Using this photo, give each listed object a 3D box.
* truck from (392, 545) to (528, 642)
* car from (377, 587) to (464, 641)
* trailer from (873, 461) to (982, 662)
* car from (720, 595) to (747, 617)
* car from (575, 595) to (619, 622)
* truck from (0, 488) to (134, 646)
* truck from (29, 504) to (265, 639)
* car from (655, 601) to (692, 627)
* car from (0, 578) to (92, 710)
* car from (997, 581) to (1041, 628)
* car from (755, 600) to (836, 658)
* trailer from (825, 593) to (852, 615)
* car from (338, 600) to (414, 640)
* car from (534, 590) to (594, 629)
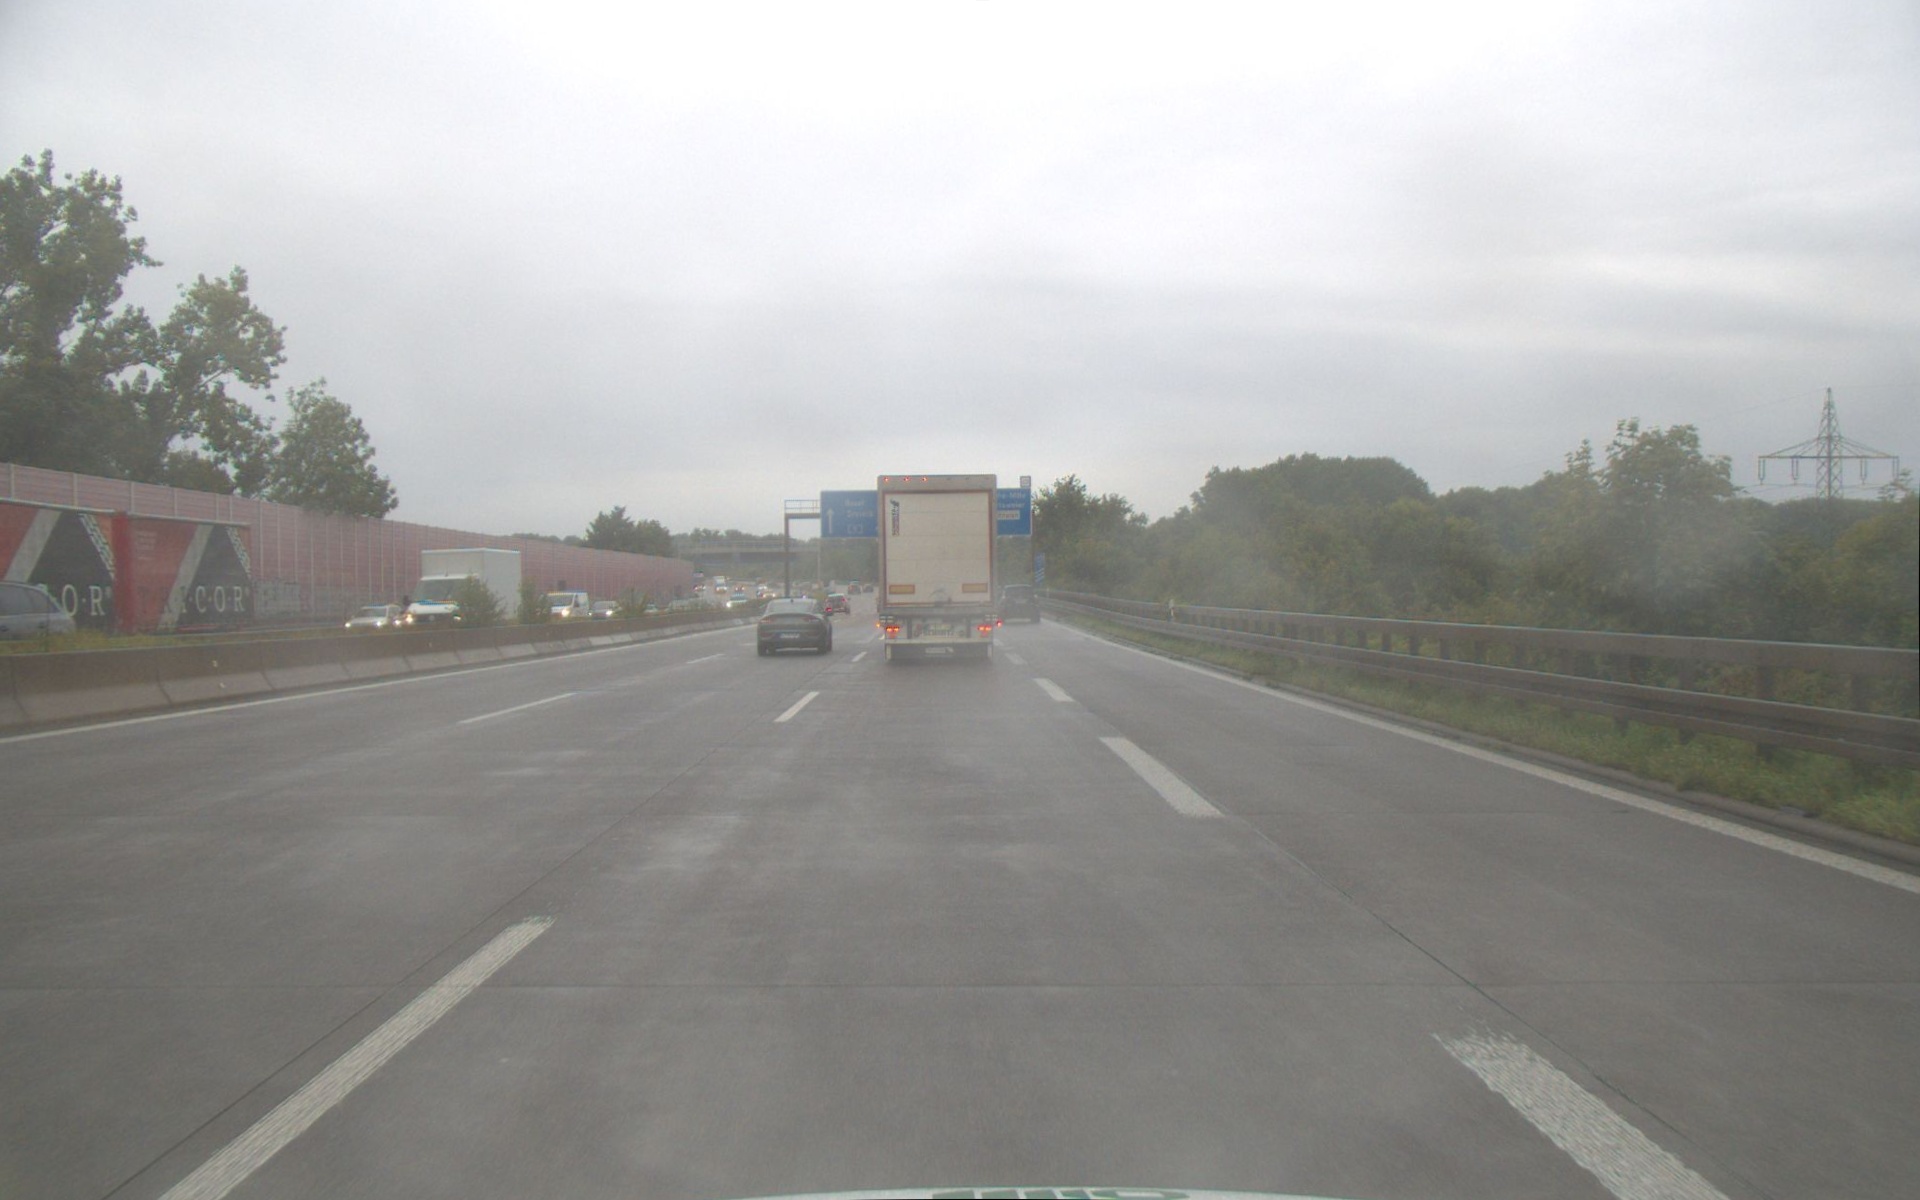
[{"bbox_3d":[-16.003,-0.216,53.425,2.220,2.878,7.278,1,0,-1],"label":"truck"},{"bbox_3d":[-19.699,0.498,60.556,1.954,1.892,4.387,0,0,-3],"label":"car"},{"bbox_3d":[-0.727,-0.955,42.234,2.295,4.229,14.826,0,1,0],"label":"trailer"},{"bbox_3d":[-22.624,0.581,165.476,1.953,2.049,5.805,1,0,-1],"label":"car"},{"bbox_3d":[-24.489,0.568,111.765,1.953,1.677,4.538,-2,0,-1],"label":"car"},{"bbox_3d":[-22.952,-0.740,38.047,2.724,3.552,10.616,0,0,-1],"label":"truck"},{"bbox_3d":[-23.120,-0.768,47.656,2.724,3.552,8.492,0,0,-1],"label":"truck"},{"bbox_3d":[-20.449,0.974,118.347,1.953,1.754,3.999,-2,0,-1],"label":"car"},{"bbox_3d":[-14.757,0.632,24.121,1.953,1.892,4.389,0,0,-1],"label":"car"},{"bbox_3d":[2.610,0.186,73.947,1.858,1.983,4.000,1,0,1],"label":"car"},{"bbox_3d":[-4.301,0.733,43.828,1.690,1.427,4.828,1,0,-1],"label":"car"},{"bbox_3d":[-9.304,0.278,127.083,1.778,1.653,4.568,0,0,0],"label":"trailer"},{"bbox_3d":[-26.958,0.897,76.514,1.953,1.677,4.538,-2,0,-1],"label":"car"},{"bbox_3d":[-19.684,0.440,82.411,1.954,1.892,5.538,0,0,-3],"label":"car"}]
